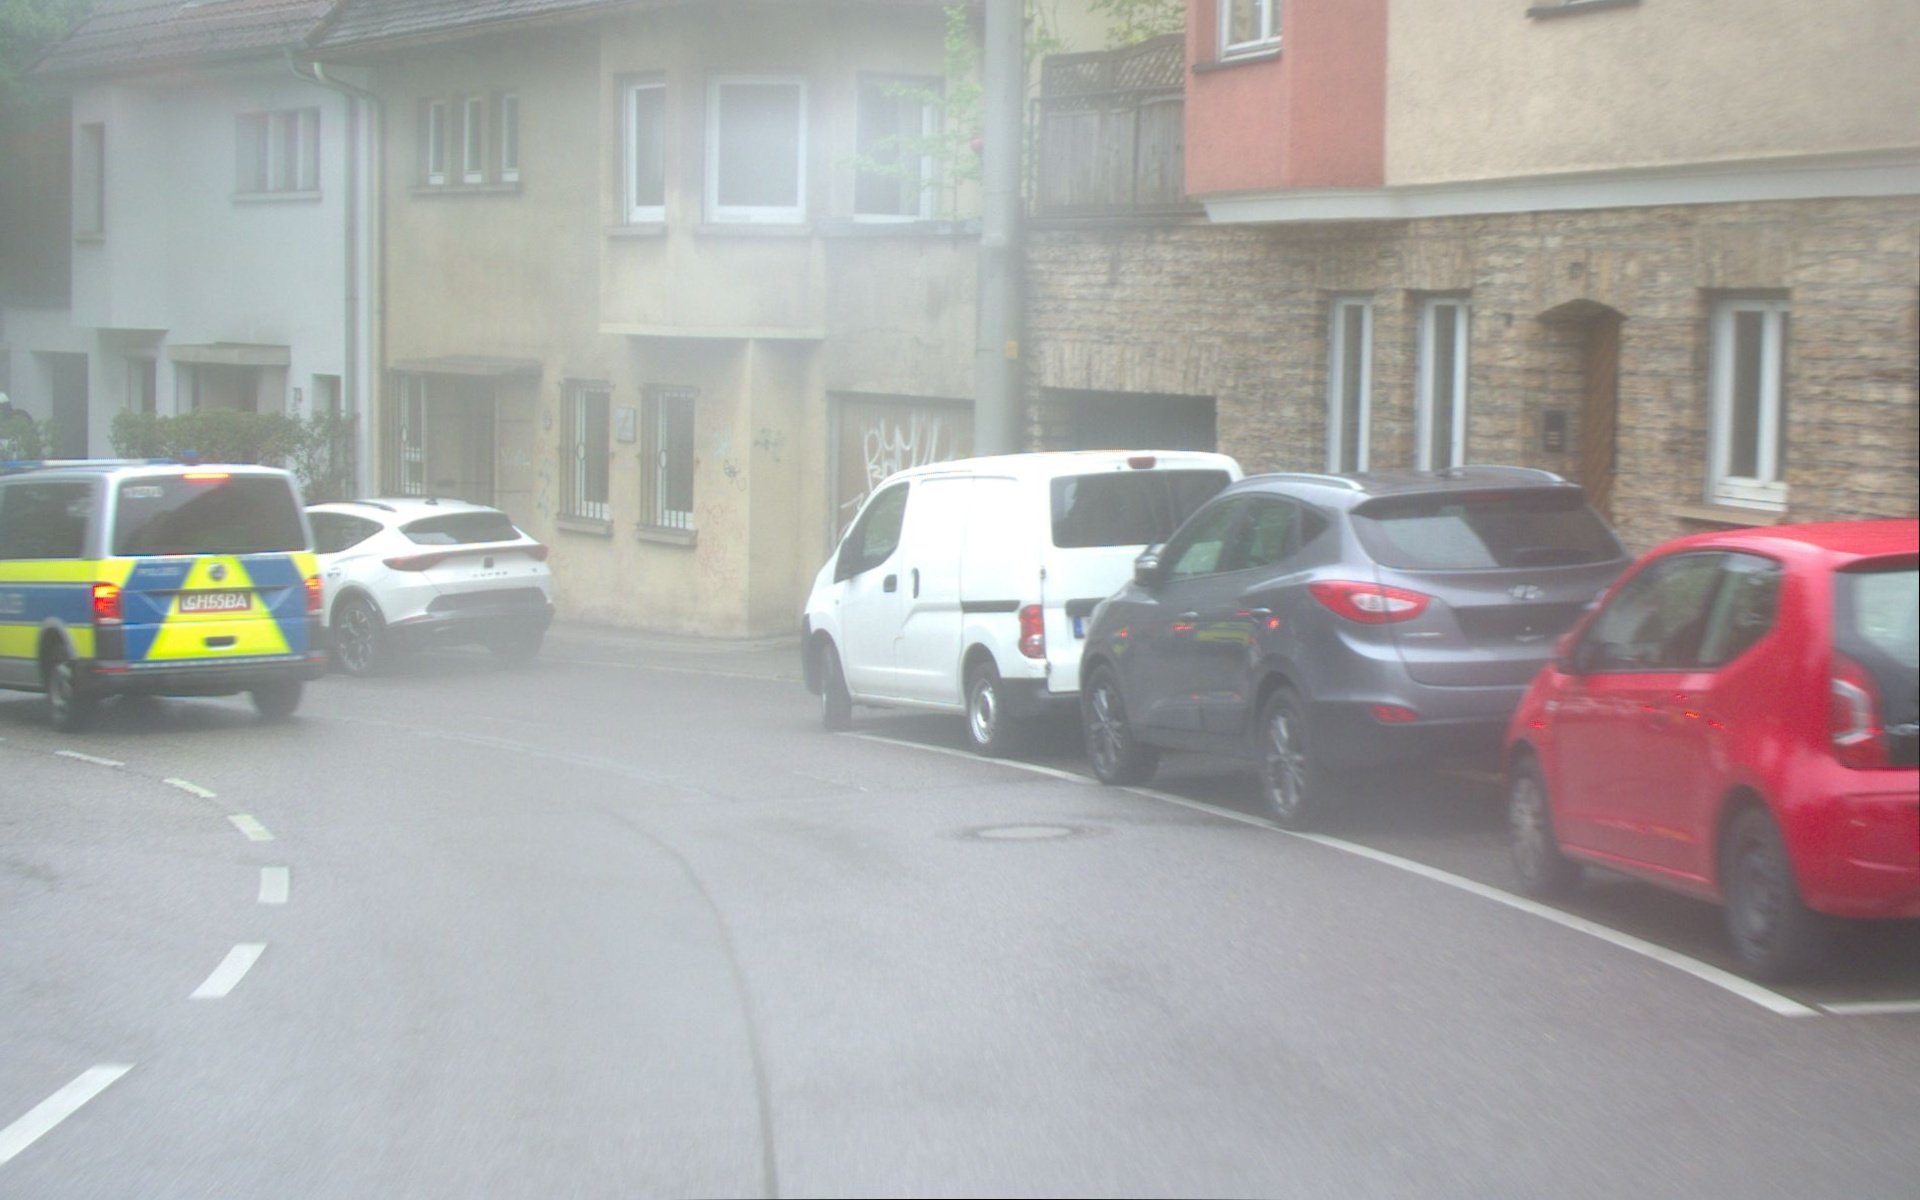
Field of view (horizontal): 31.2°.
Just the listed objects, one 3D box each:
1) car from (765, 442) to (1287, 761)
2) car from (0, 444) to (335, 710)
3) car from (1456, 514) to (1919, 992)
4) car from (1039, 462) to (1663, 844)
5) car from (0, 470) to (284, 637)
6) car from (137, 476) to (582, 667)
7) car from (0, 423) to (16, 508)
[{"bbox_3d":[0.305,-0.080,22.286,1.705,1.784,4.327,-4,3,-23],"label":"car"},{"bbox_3d":[-6.621,-0.176,26.865,1.993,1.887,4.570,-1,0,-30],"label":"car"},{"bbox_3d":[3.104,0.423,12.413,1.614,1.430,3.582,-1,2,-8],"label":"car"},{"bbox_3d":[1.821,0.142,17.523,1.614,1.599,4.413,-3,3,-15],"label":"car"},{"bbox_3d":[-8.731,-0.478,34.673,3.820,1.509,1.766,0,4,42],"label":"car"},{"bbox_3d":[-5.530,-0.294,31.284,1.915,1.533,4.413,-5,4,-41],"label":"car"},{"bbox_3d":[-14.711,-1.730,44.080,4.398,1.835,2.000,-14,11,-30],"label":"car"}]
